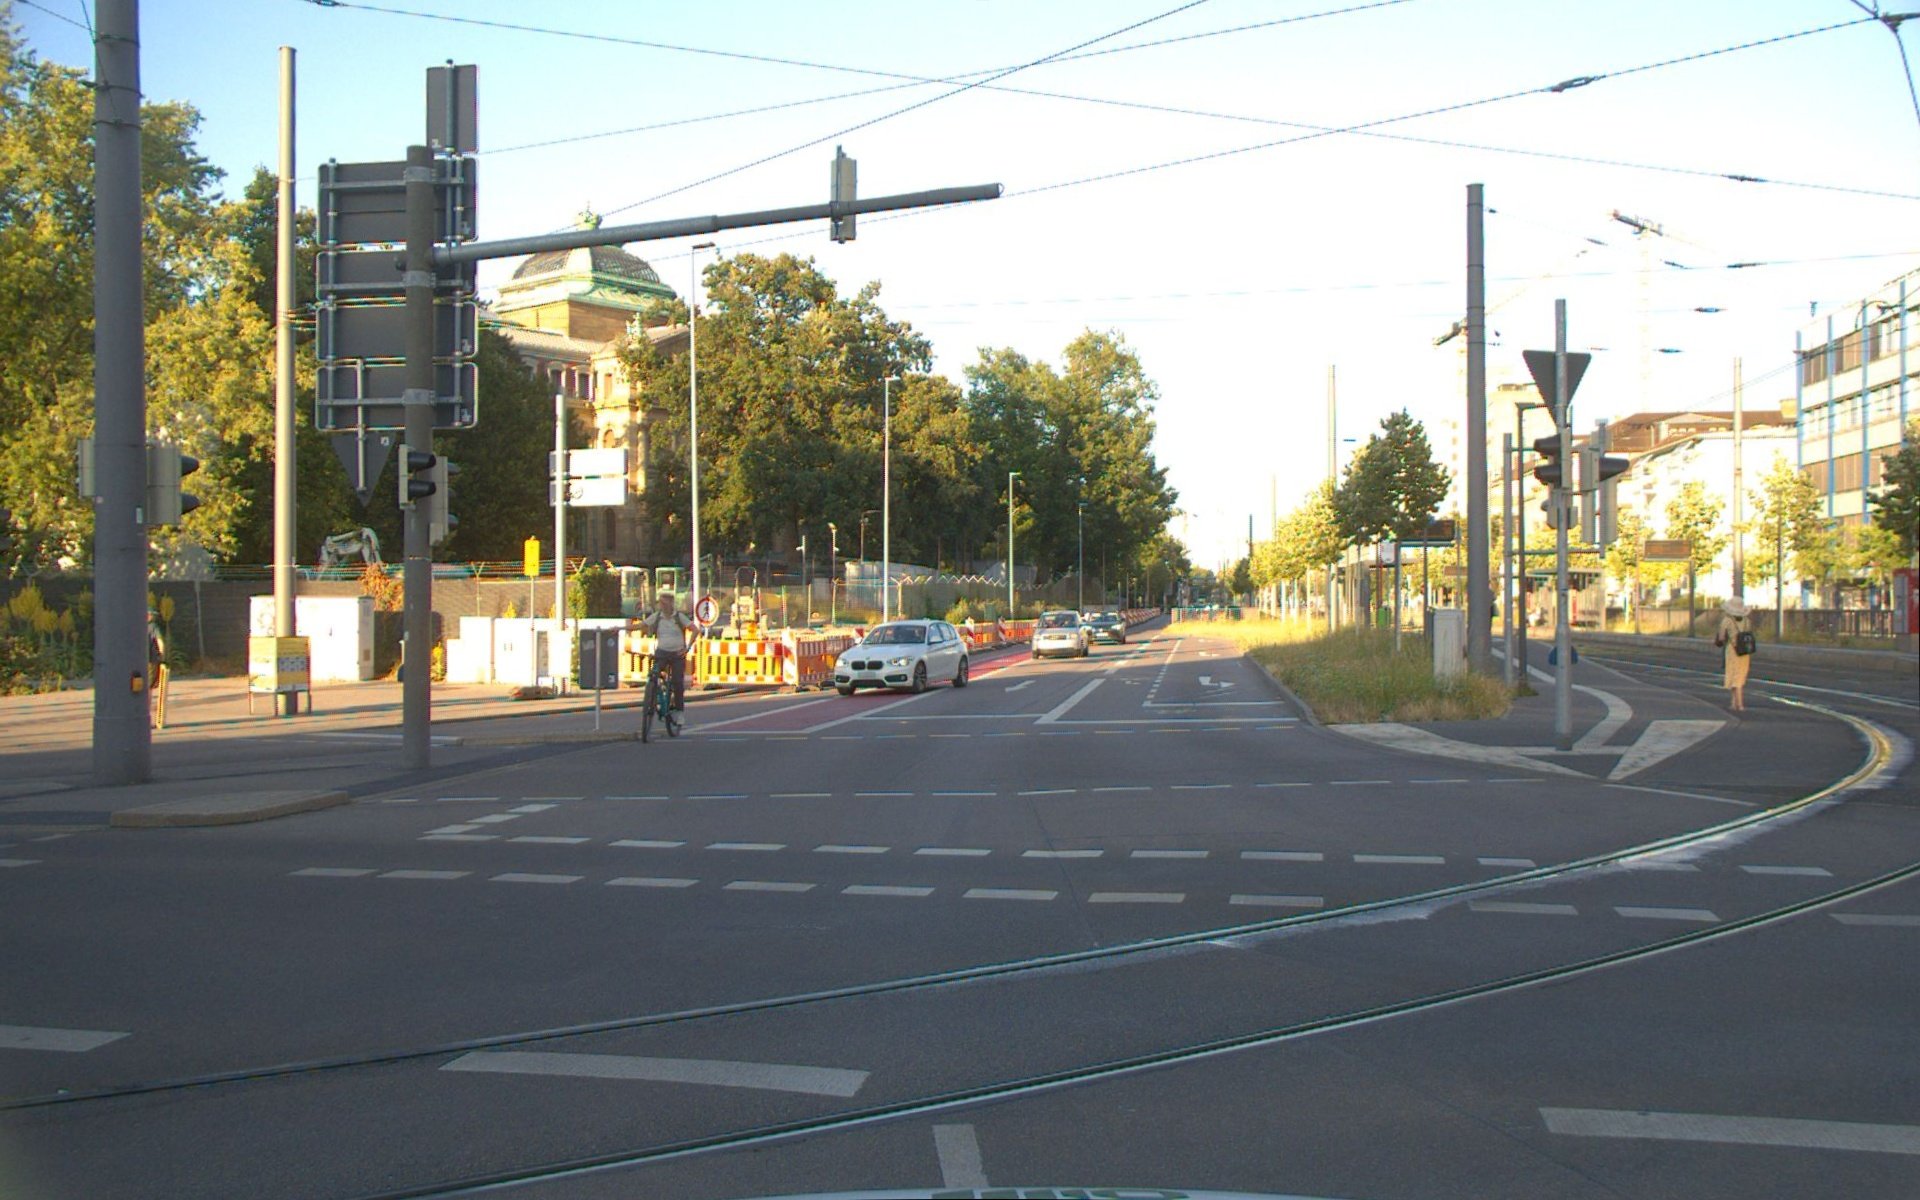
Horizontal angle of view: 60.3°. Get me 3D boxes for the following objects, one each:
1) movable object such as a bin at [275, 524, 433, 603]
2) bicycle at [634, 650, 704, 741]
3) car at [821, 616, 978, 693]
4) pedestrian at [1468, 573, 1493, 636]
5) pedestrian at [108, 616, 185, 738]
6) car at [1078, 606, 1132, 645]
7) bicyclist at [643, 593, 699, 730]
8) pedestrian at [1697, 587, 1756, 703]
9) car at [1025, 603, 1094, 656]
[{"bbox_3d":[-17.124,-0.981,46.615,4.930,2.049,1.990,-1,0,40],"label":"movable object such as a bin"},{"bbox_3d":[-3.675,1.190,20.995,0.582,1.041,1.847,-1,0,-1],"label":"bicycle"},{"bbox_3d":[-1.171,1.088,34.253,1.870,1.430,4.306,-2,-1,18],"label":"car"},{"bbox_3d":[13.709,0.120,43.561,0.552,1.619,0.691,-1,-1,12],"label":"pedestrian"},{"bbox_3d":[-12.099,1.123,24.588,0.932,1.766,0.812,0,0,-33],"label":"pedestrian"},{"bbox_3d":[6.446,1.104,73.266,1.896,1.645,4.396,-1,0,11],"label":"car"},{"bbox_3d":[-3.682,0.773,21.127,0.582,1.700,0.748,-1,0,-1],"label":"bicyclist"},{"bbox_3d":[10.556,0.617,22.781,0.691,1.568,0.636,-1,-1,25],"label":"pedestrian"},{"bbox_3d":[3.311,0.980,54.394,1.640,1.588,3.729,-3,-2,12],"label":"car"}]
